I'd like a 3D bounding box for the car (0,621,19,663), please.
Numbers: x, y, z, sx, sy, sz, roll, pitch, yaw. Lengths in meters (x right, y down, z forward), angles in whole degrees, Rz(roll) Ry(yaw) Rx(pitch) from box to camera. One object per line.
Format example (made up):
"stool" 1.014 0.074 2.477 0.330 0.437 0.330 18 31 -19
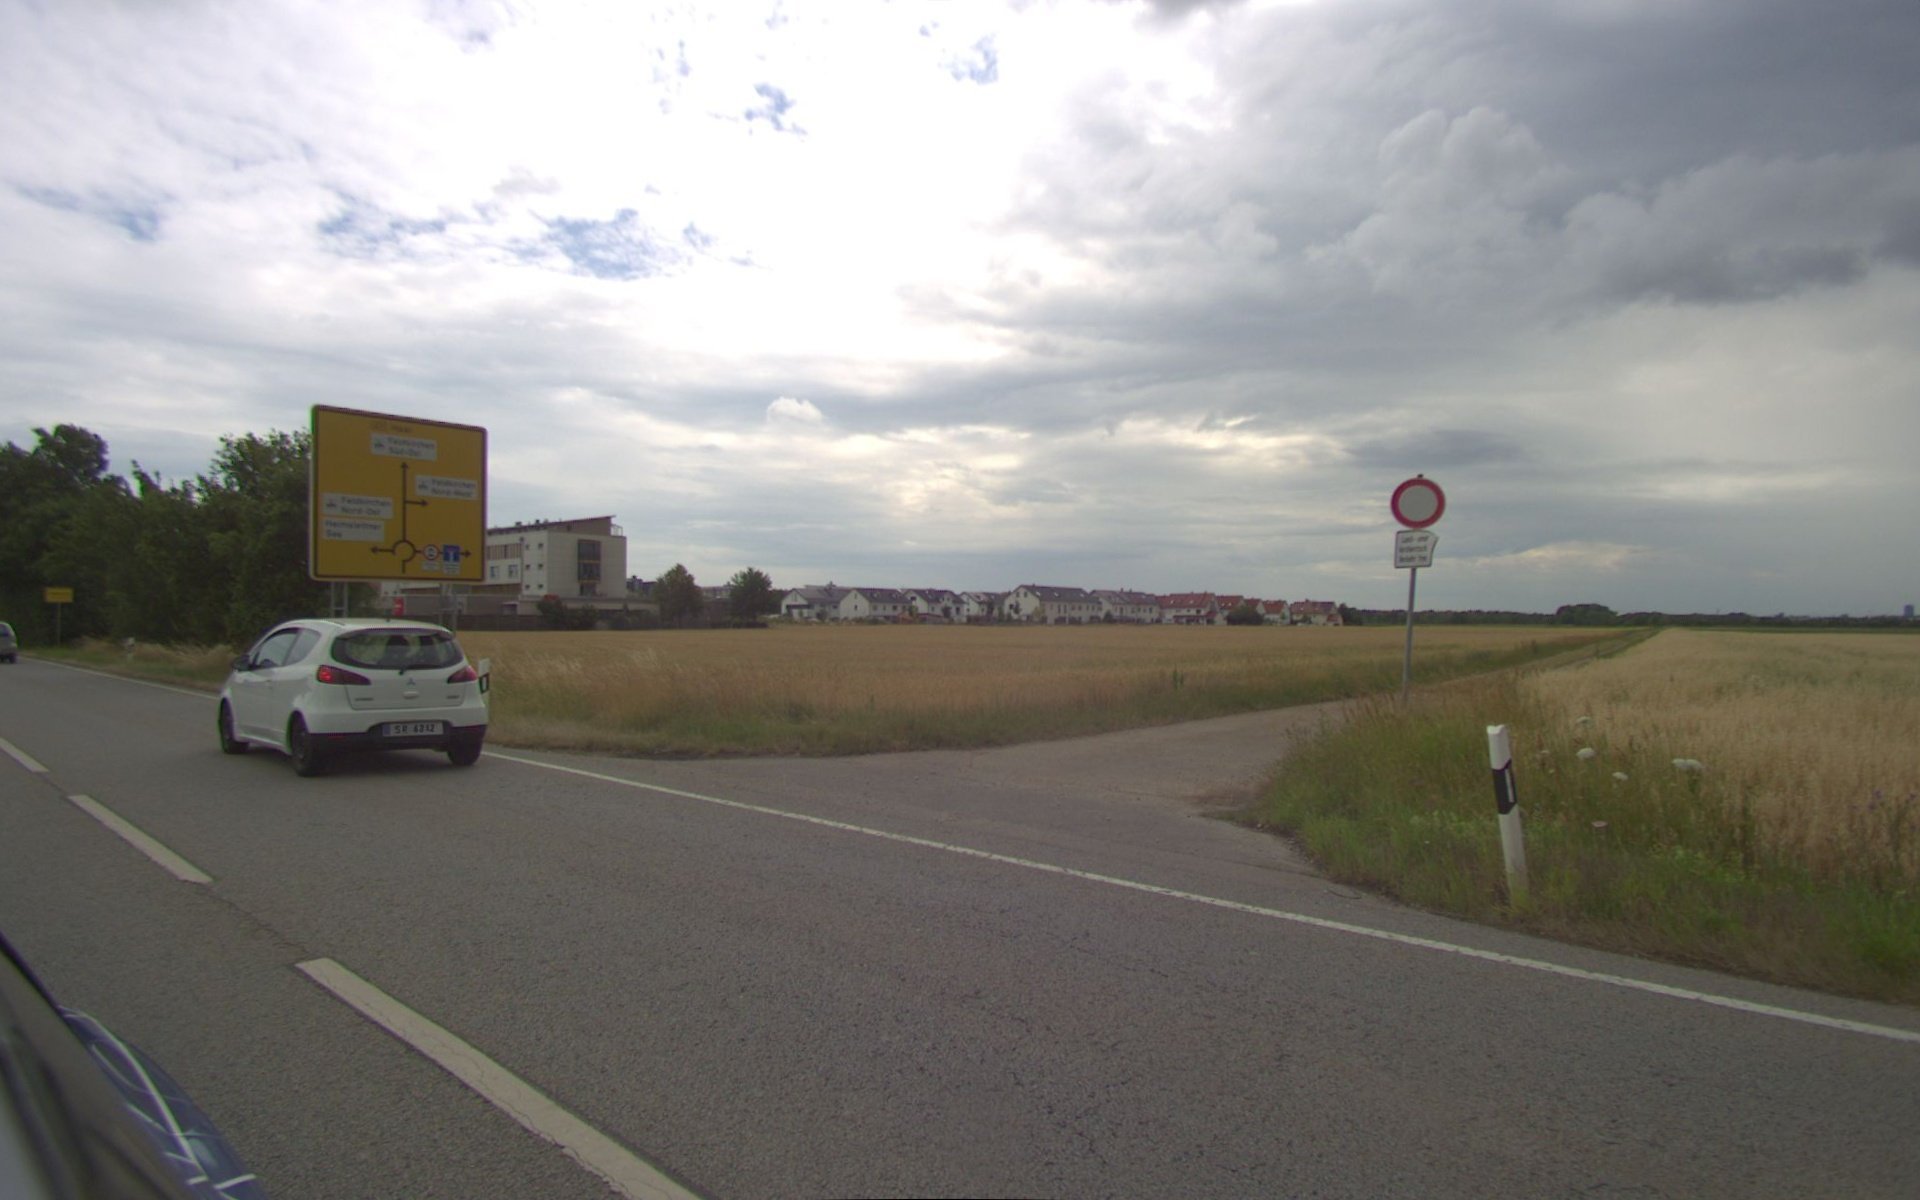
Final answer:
"car" -33.241 1.387 34.204 3.948 1.374 1.710 -1 -2 41

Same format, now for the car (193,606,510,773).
"car" -6.713 0.832 10.988 4.112 1.468 1.787 -1 -2 41
